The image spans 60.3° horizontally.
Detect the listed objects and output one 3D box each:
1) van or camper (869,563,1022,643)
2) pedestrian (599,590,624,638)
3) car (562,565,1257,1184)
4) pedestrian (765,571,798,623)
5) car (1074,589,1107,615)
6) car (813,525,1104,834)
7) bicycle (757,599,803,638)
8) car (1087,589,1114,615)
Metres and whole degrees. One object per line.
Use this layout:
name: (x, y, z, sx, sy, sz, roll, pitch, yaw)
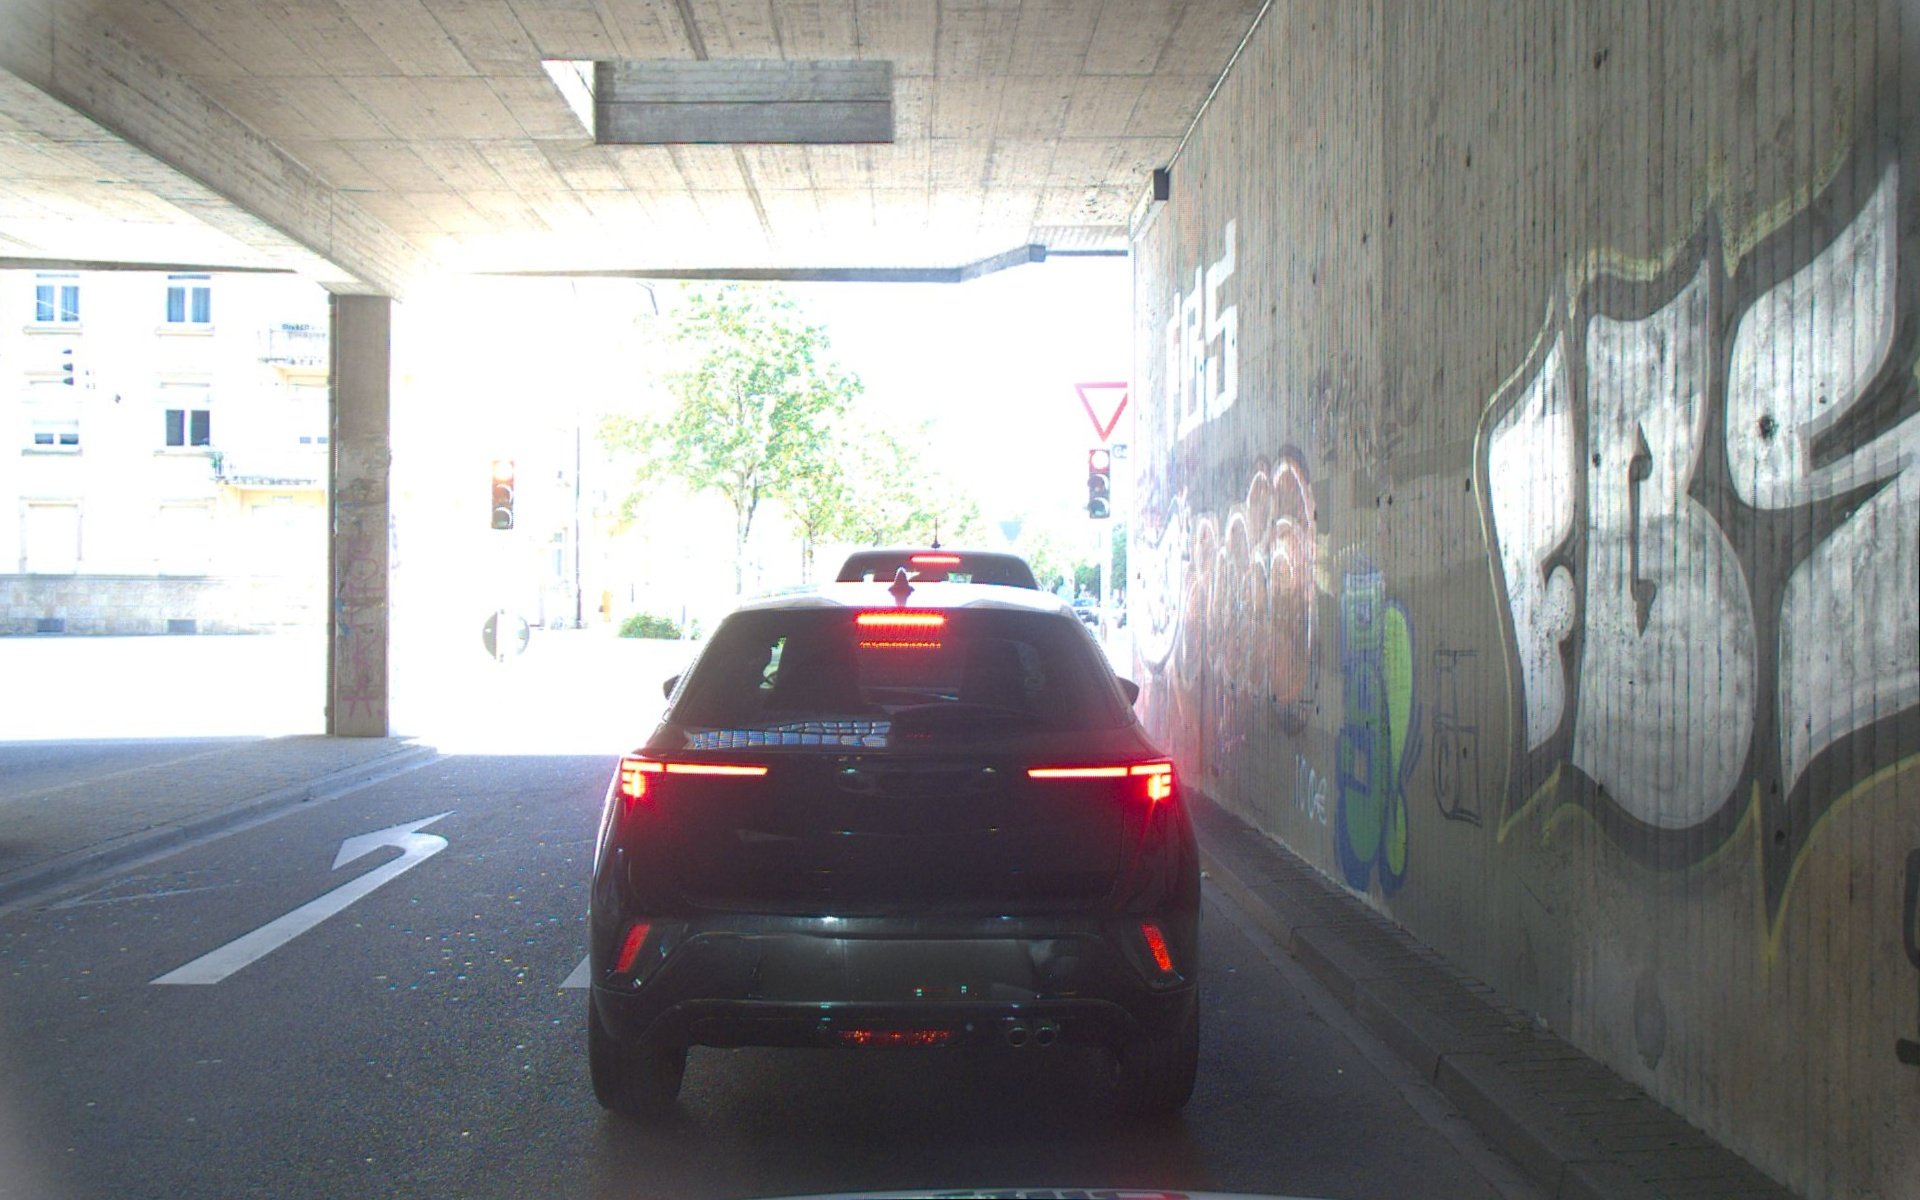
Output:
van or camper: (-0.353, 0.084, 43.549, 3.795, 2.049, 2.002, 0, 0, 7)
pedestrian: (-12.703, 0.524, 60.363, 0.609, 1.734, 0.724, 1, -1, 13)
car: (-0.140, 0.679, 6.145, 1.718, 1.525, 4.000, 1, 0, -1)
pedestrian: (-5.537, -0.088, 51.331, 0.720, 1.612, 0.891, 1, -1, 15)
car: (7.407, 0.103, 93.515, 1.564, 1.477, 3.798, 0, 0, 9)
car: (-0.030, 0.476, 12.085, 1.749, 1.865, 3.960, 1, 0, -1)
bicycle: (-5.563, 0.558, 51.245, 0.721, 1.150, 2.027, 0, 0, 16)
car: (9.383, 0.128, 110.243, 1.550, 1.668, 3.809, 0, 0, 9)
